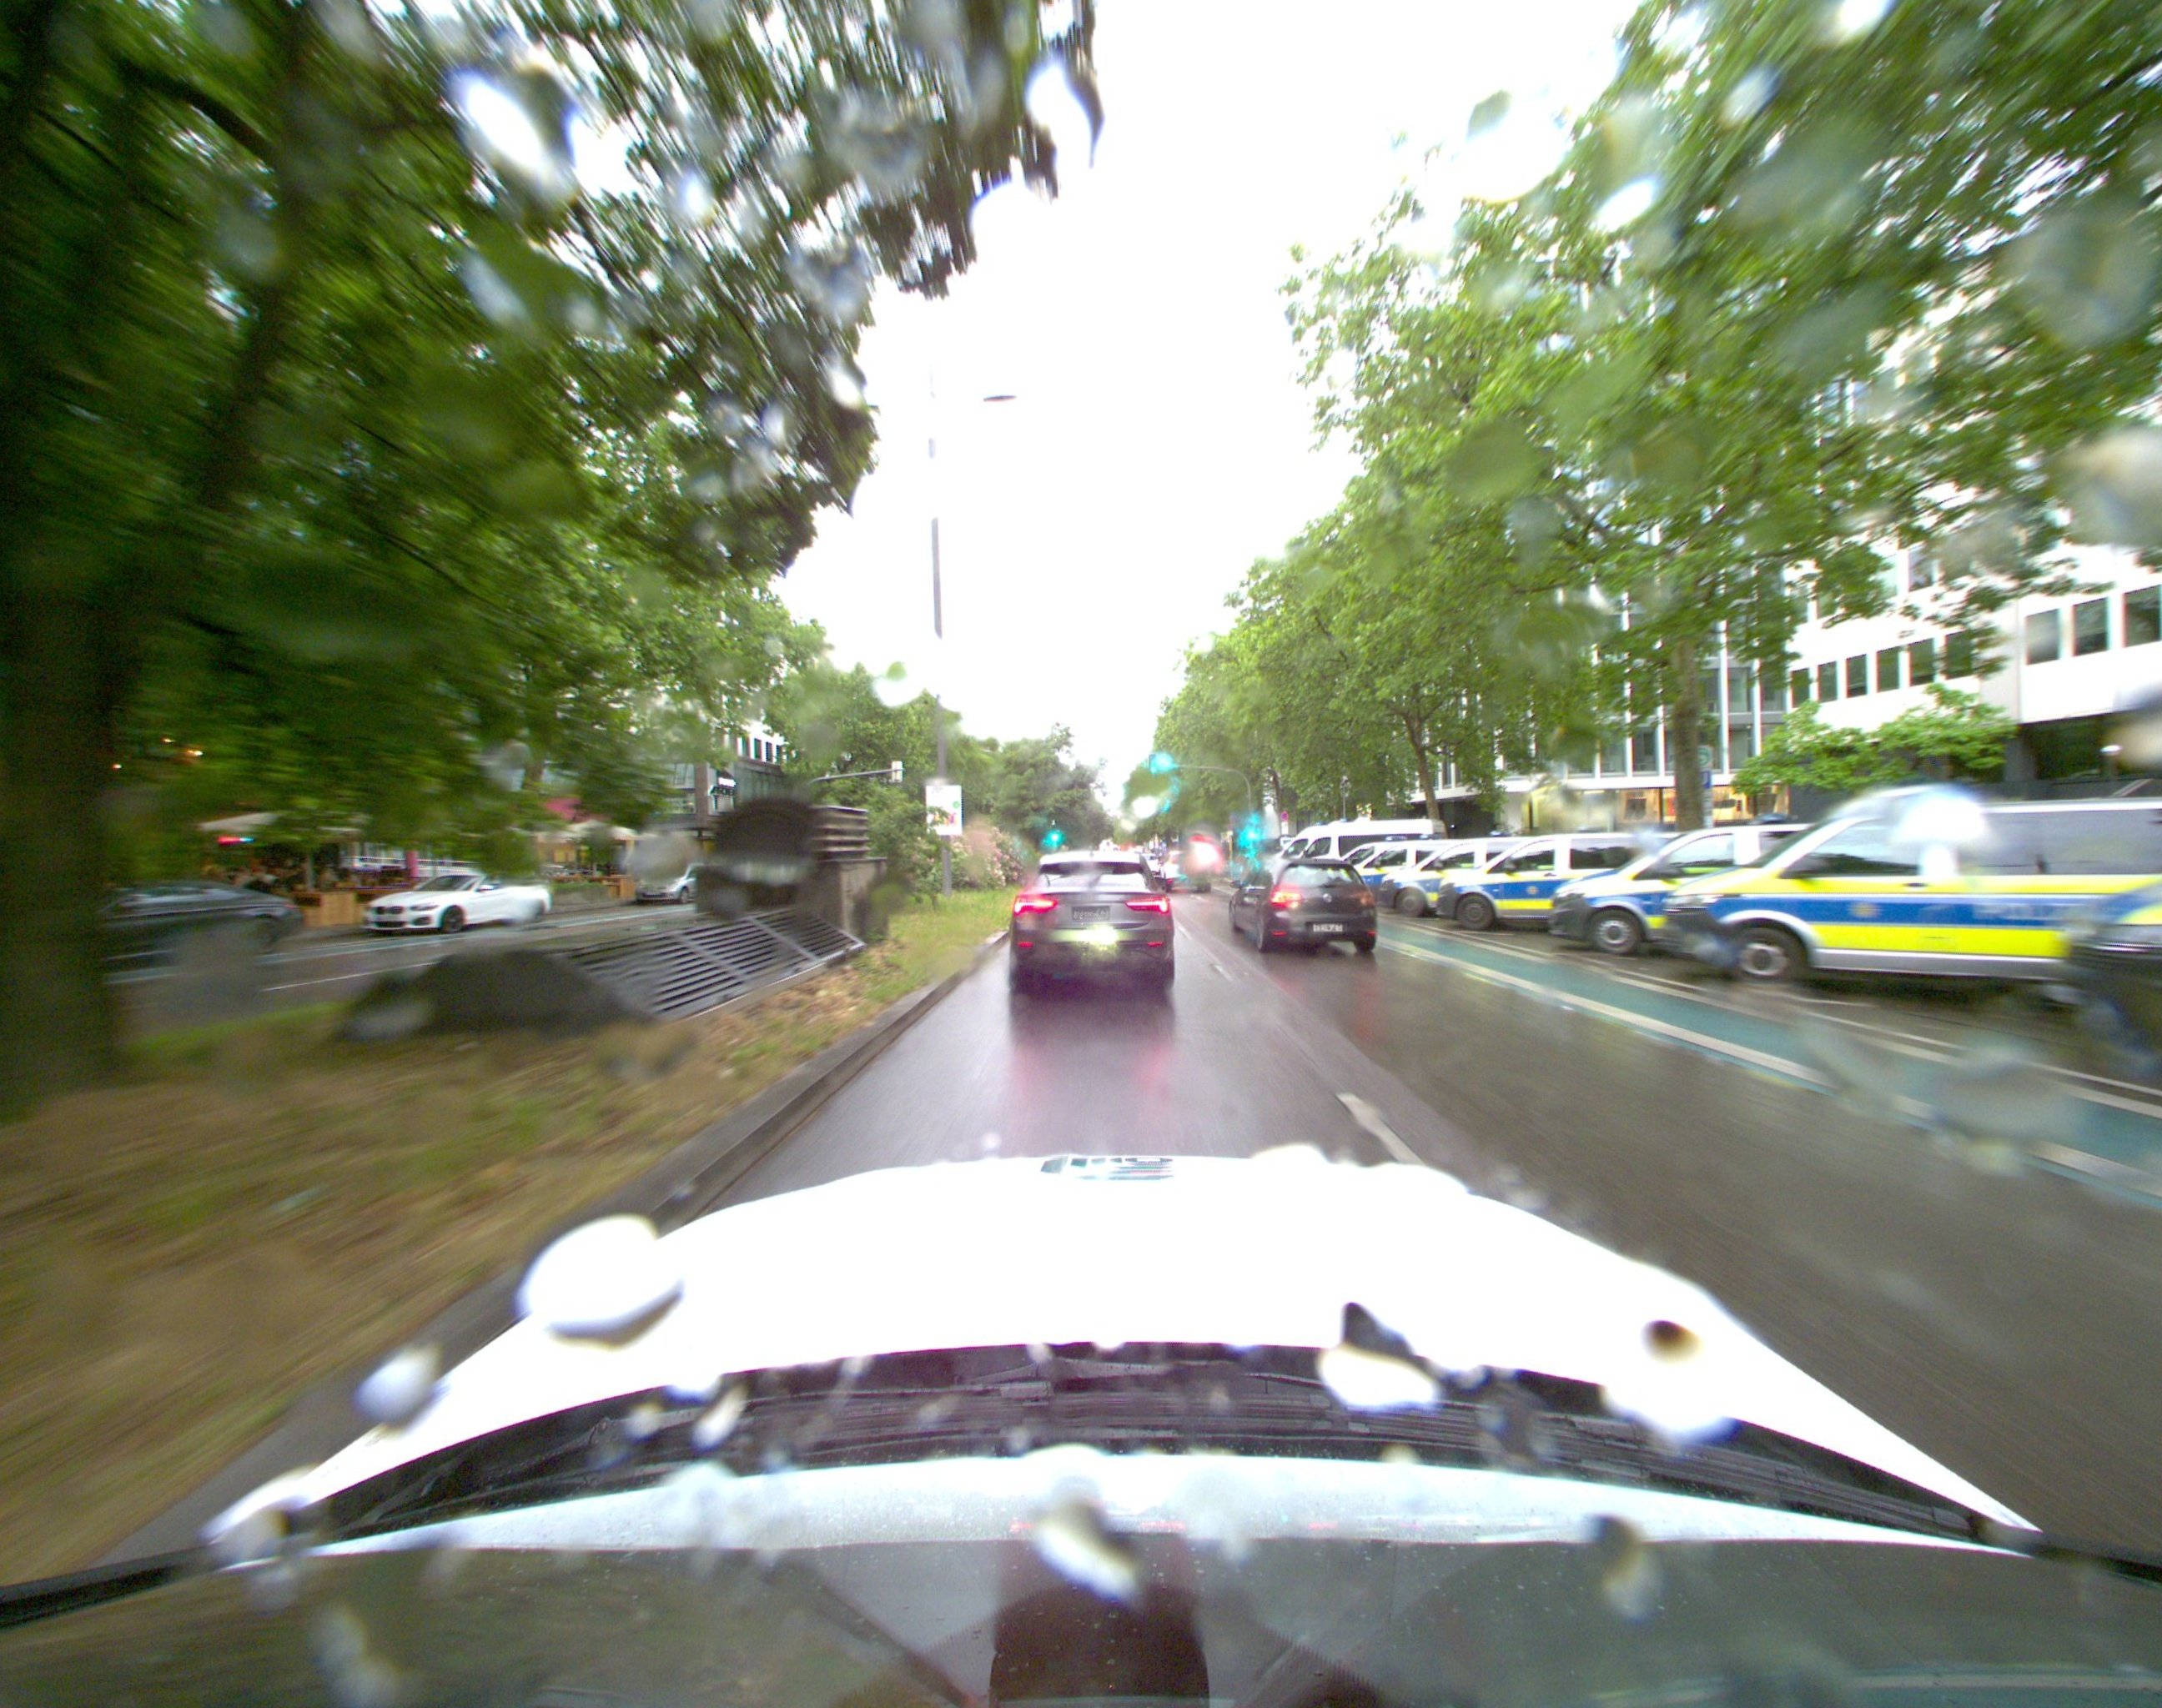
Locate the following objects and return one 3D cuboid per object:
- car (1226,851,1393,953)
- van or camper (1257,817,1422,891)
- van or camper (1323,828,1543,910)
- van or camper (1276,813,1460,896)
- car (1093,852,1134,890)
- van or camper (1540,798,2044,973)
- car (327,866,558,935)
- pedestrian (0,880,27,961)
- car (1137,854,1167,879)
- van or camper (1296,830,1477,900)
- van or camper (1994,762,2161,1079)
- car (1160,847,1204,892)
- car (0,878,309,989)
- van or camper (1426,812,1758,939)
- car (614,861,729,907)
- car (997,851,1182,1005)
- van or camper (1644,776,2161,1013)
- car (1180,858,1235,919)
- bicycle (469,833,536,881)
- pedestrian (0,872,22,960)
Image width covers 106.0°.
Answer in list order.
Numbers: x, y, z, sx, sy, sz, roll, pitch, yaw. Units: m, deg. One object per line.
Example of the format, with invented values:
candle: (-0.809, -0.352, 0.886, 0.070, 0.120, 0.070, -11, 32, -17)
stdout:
car: (3.635, 0.679, 13.695, 1.758, 1.413, 4.001, -2, 0, 2)
van or camper: (10.079, 0.027, 32.053, 5.741, 2.677, 2.161, -1, 0, 39)
van or camper: (9.468, 0.386, 22.113, 5.142, 1.992, 2.013, 0, -1, 36)
van or camper: (10.046, 0.059, 28.791, 5.736, 2.680, 2.013, -2, 0, 37)
car: (1.449, 0.728, 36.768, 1.715, 1.577, 3.963, -1, 0, 2)
van or camper: (9.443, 0.401, 11.497, 4.959, 1.995, 2.013, -2, 0, 34)
car: (-15.431, 1.053, 20.100, 1.986, 1.370, 4.542, 1, 0, 2)
pedestrian: (-18.757, 1.144, 13.718, 0.761, 1.380, 0.933, -1, 0, -1)
car: (5.287, 0.905, 61.169, 1.986, 1.750, 4.002, -2, 0, 2)
van or camper: (9.612, 0.385, 25.807, 4.952, 2.014, 2.013, -2, -2, 37)
van or camper: (8.981, 0.383, 4.611, 4.792, 1.998, 1.880, -1, 0, 38)
car: (4.007, 0.577, 32.606, 1.427, 1.685, 2.981, -2, 0, 2)
car: (-15.724, 1.171, 13.306, 1.818, 1.394, 4.486, -1, 0, 2)
van or camper: (9.500, 0.365, 15.414, 5.042, 2.025, 2.119, -1, 0, 39)
car: (-15.224, 1.065, 30.630, 1.987, 1.509, 4.517, -2, 0, 0)
car: (0.215, 0.756, 10.593, 1.855, 1.532, 4.530, -1, 0, 3)
van or camper: (8.819, 0.358, 8.476, 4.733, 2.011, 2.013, -1, -1, 38)
car: (3.152, 0.829, 20.651, 1.046, 1.387, 2.695, -2, 0, 2)
bicycle: (-25.277, 0.113, 35.603, 2.378, 2.013, 0.690, -2, 0, -1)
pedestrian: (-18.620, 1.054, 13.508, 0.827, 1.488, 0.973, -1, 0, -1)
